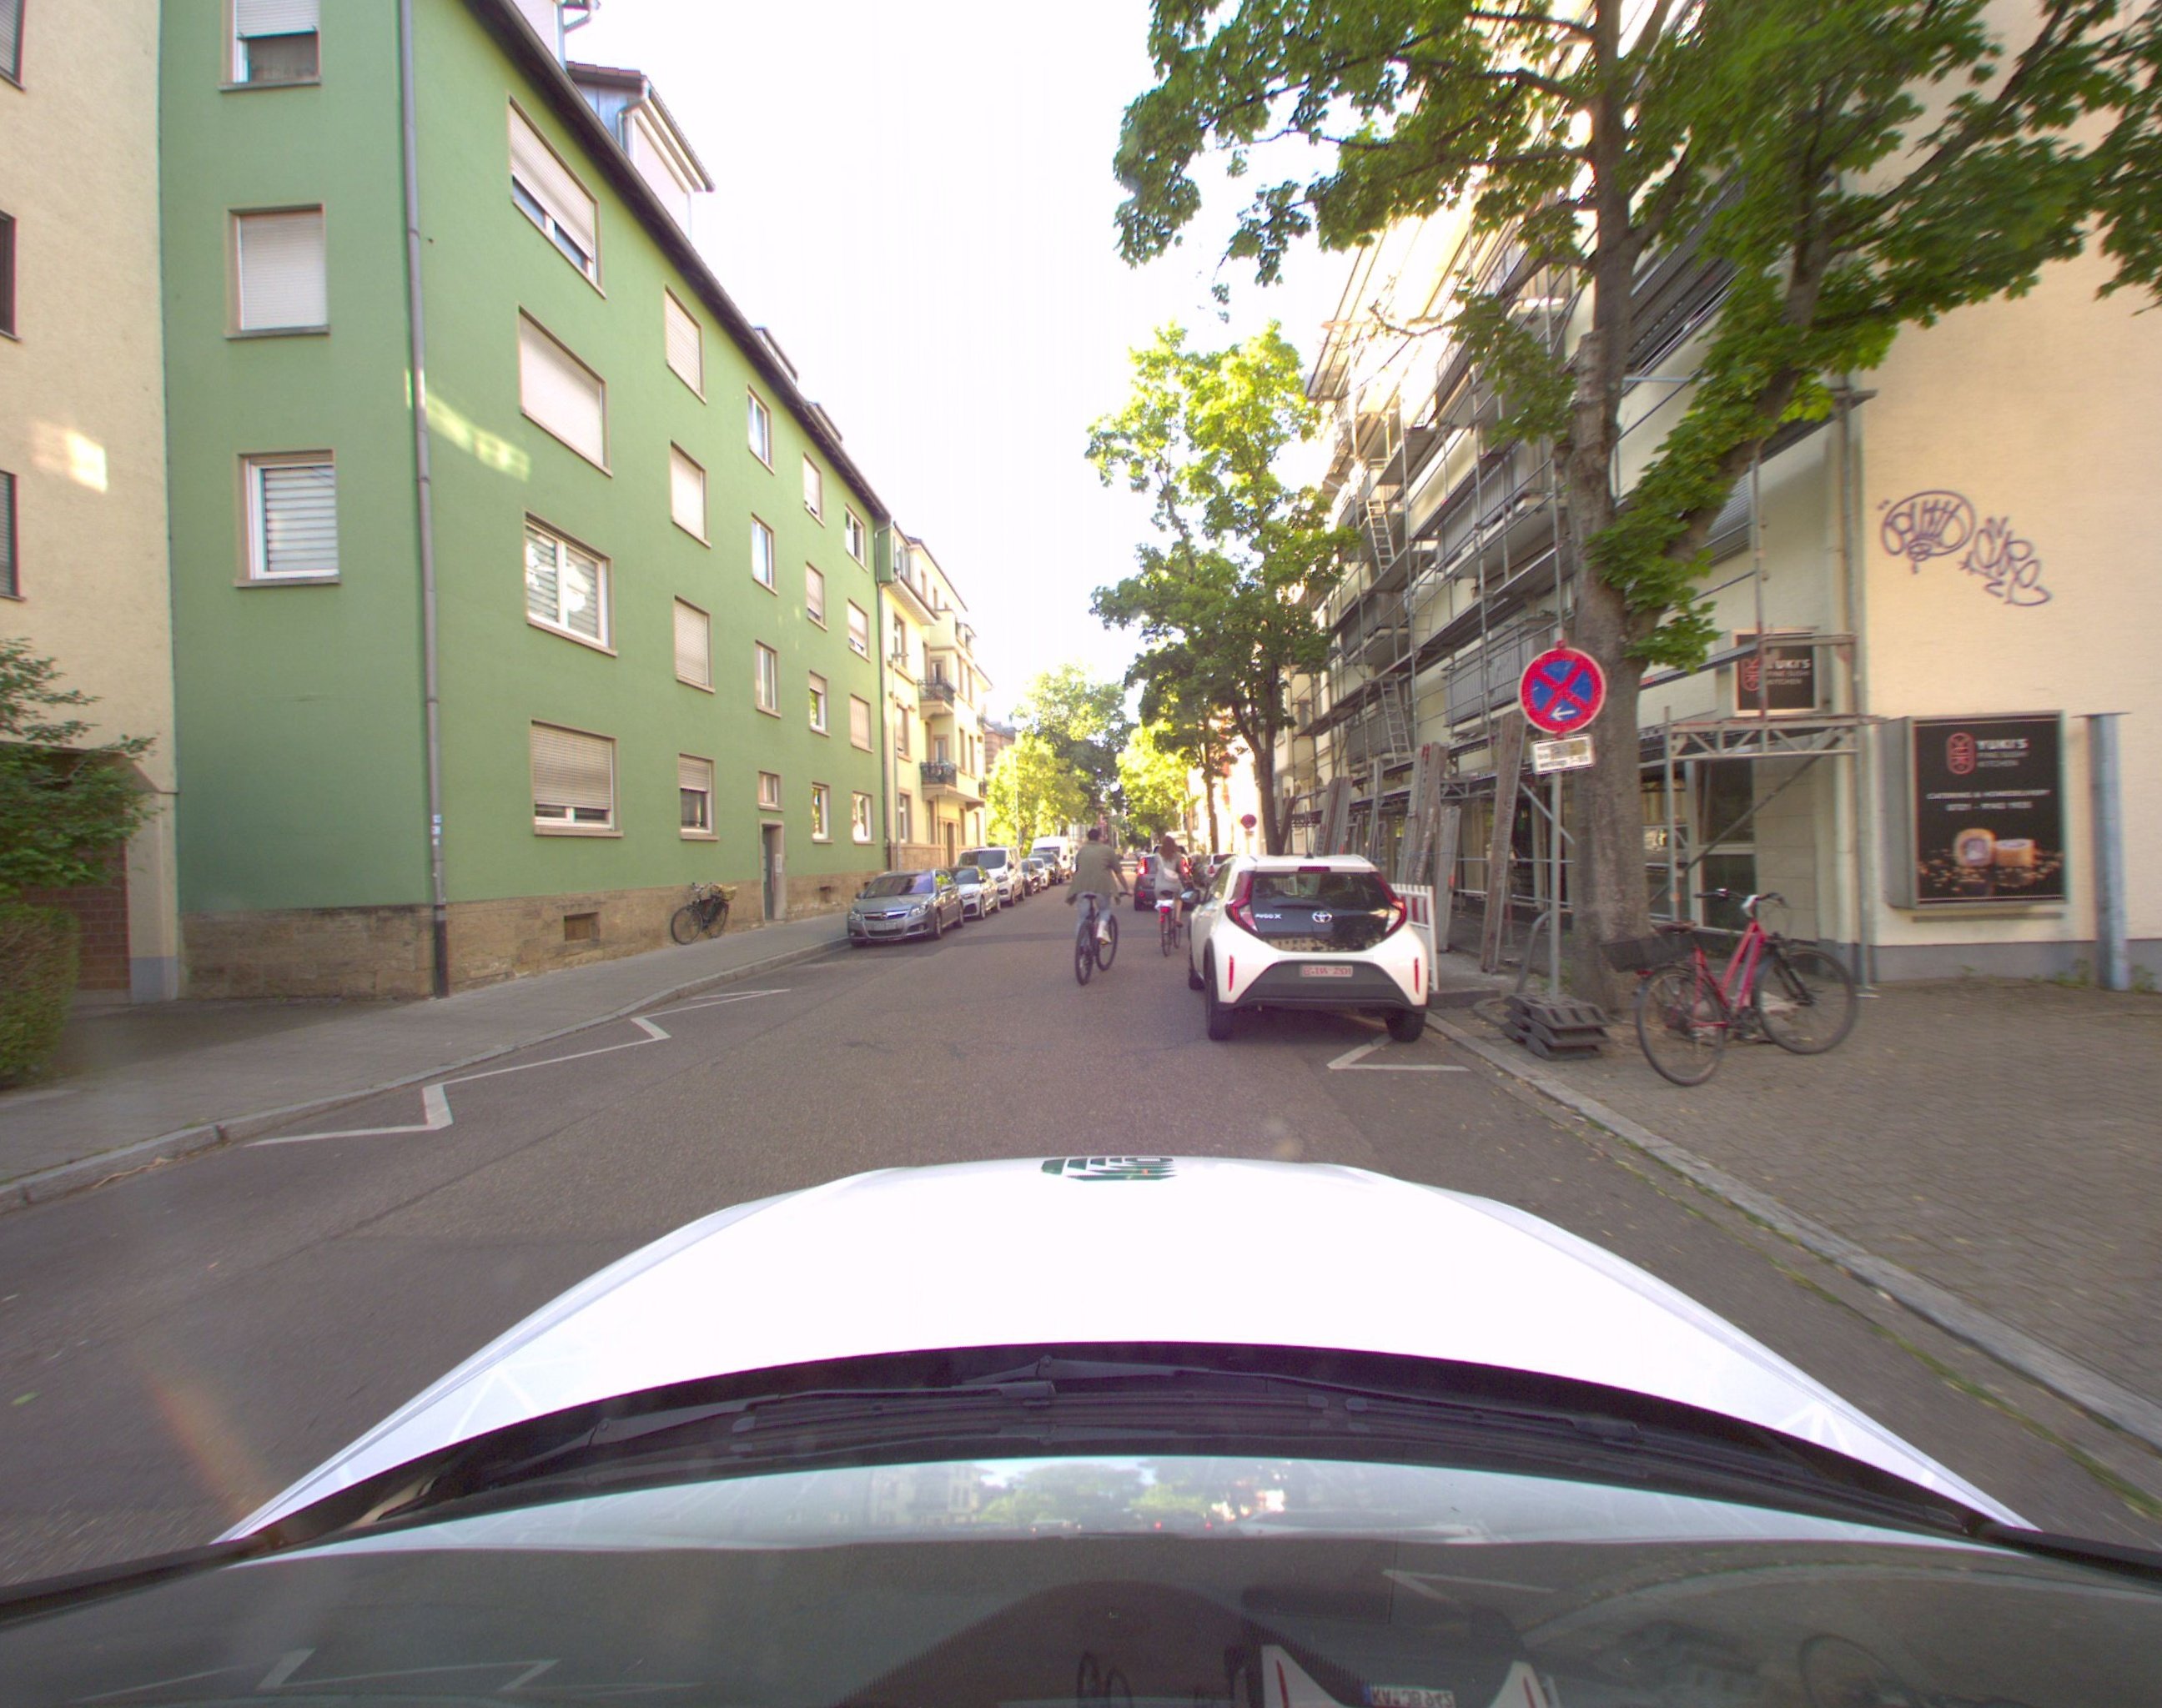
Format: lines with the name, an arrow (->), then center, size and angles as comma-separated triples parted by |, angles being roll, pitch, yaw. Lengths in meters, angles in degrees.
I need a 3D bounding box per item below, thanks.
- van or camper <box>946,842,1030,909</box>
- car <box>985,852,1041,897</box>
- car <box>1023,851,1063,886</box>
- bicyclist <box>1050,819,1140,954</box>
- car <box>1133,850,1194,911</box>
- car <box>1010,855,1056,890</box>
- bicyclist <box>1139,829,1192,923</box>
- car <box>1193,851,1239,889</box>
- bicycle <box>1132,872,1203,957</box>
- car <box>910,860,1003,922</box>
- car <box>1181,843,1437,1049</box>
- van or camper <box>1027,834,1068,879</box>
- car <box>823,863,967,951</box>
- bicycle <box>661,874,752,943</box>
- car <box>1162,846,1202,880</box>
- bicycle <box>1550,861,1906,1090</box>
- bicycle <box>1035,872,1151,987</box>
van or camper -> -3.081, 0.679, 28.122 | 1.985, 2.013, 4.916 | -3, 0, 3
car -> -2.734, 0.804, 33.605 | 1.703, 1.684, 4.004 | -2, 0, 3
car -> -1.994, 0.741, 43.688 | 1.703, 1.699, 4.004 | -2, 0, 3
bicyclist -> 0.187, 0.412, 10.092 | 0.875, 1.562, 0.871 | -3, -4, 15
car -> 2.281, 0.674, 22.707 | 1.549, 1.533, 3.492 | 0, 0, 5
car -> -2.259, 0.832, 39.176 | 1.703, 1.504, 4.004 | -2, 0, 3
bicyclist -> 1.319, 0.359, 12.612 | 0.618, 1.381, 0.871 | -3, -5, 14
car -> 5.363, 0.593, 32.644 | 1.549, 1.409, 3.385 | 1, 1, 5
bicycle -> 1.400, 0.892, 12.749 | 0.833, 1.149, 2.241 | -1, 0, 13
car -> -3.311, 0.946, 22.374 | 1.679, 1.453, 3.714 | -3, 0, 4
car -> 1.924, 0.693, 7.844 | 1.668, 1.545, 3.406 | 0, 0, 3
van or camper -> -2.001, 0.154, 49.931 | 1.985, 2.553, 5.026 | -2, 0, 3
car -> -3.769, 1.016, 17.285 | 1.972, 1.455, 4.113 | -5, 0, 0
bicycle -> -7.230, 1.013, 15.853 | 0.548, 1.178, 2.281 | 1, 0, 4
car -> 5.351, 0.451, 43.486 | 1.680, 1.684, 4.002 | -3, 0, 2
bicycle -> 4.190, 0.709, 5.301 | 1.983, 1.165, 0.723 | -5, 0, -15
bicycle -> 0.221, 0.871, 10.225 | 0.832, 1.149, 2.243 | -1, 2, 17
